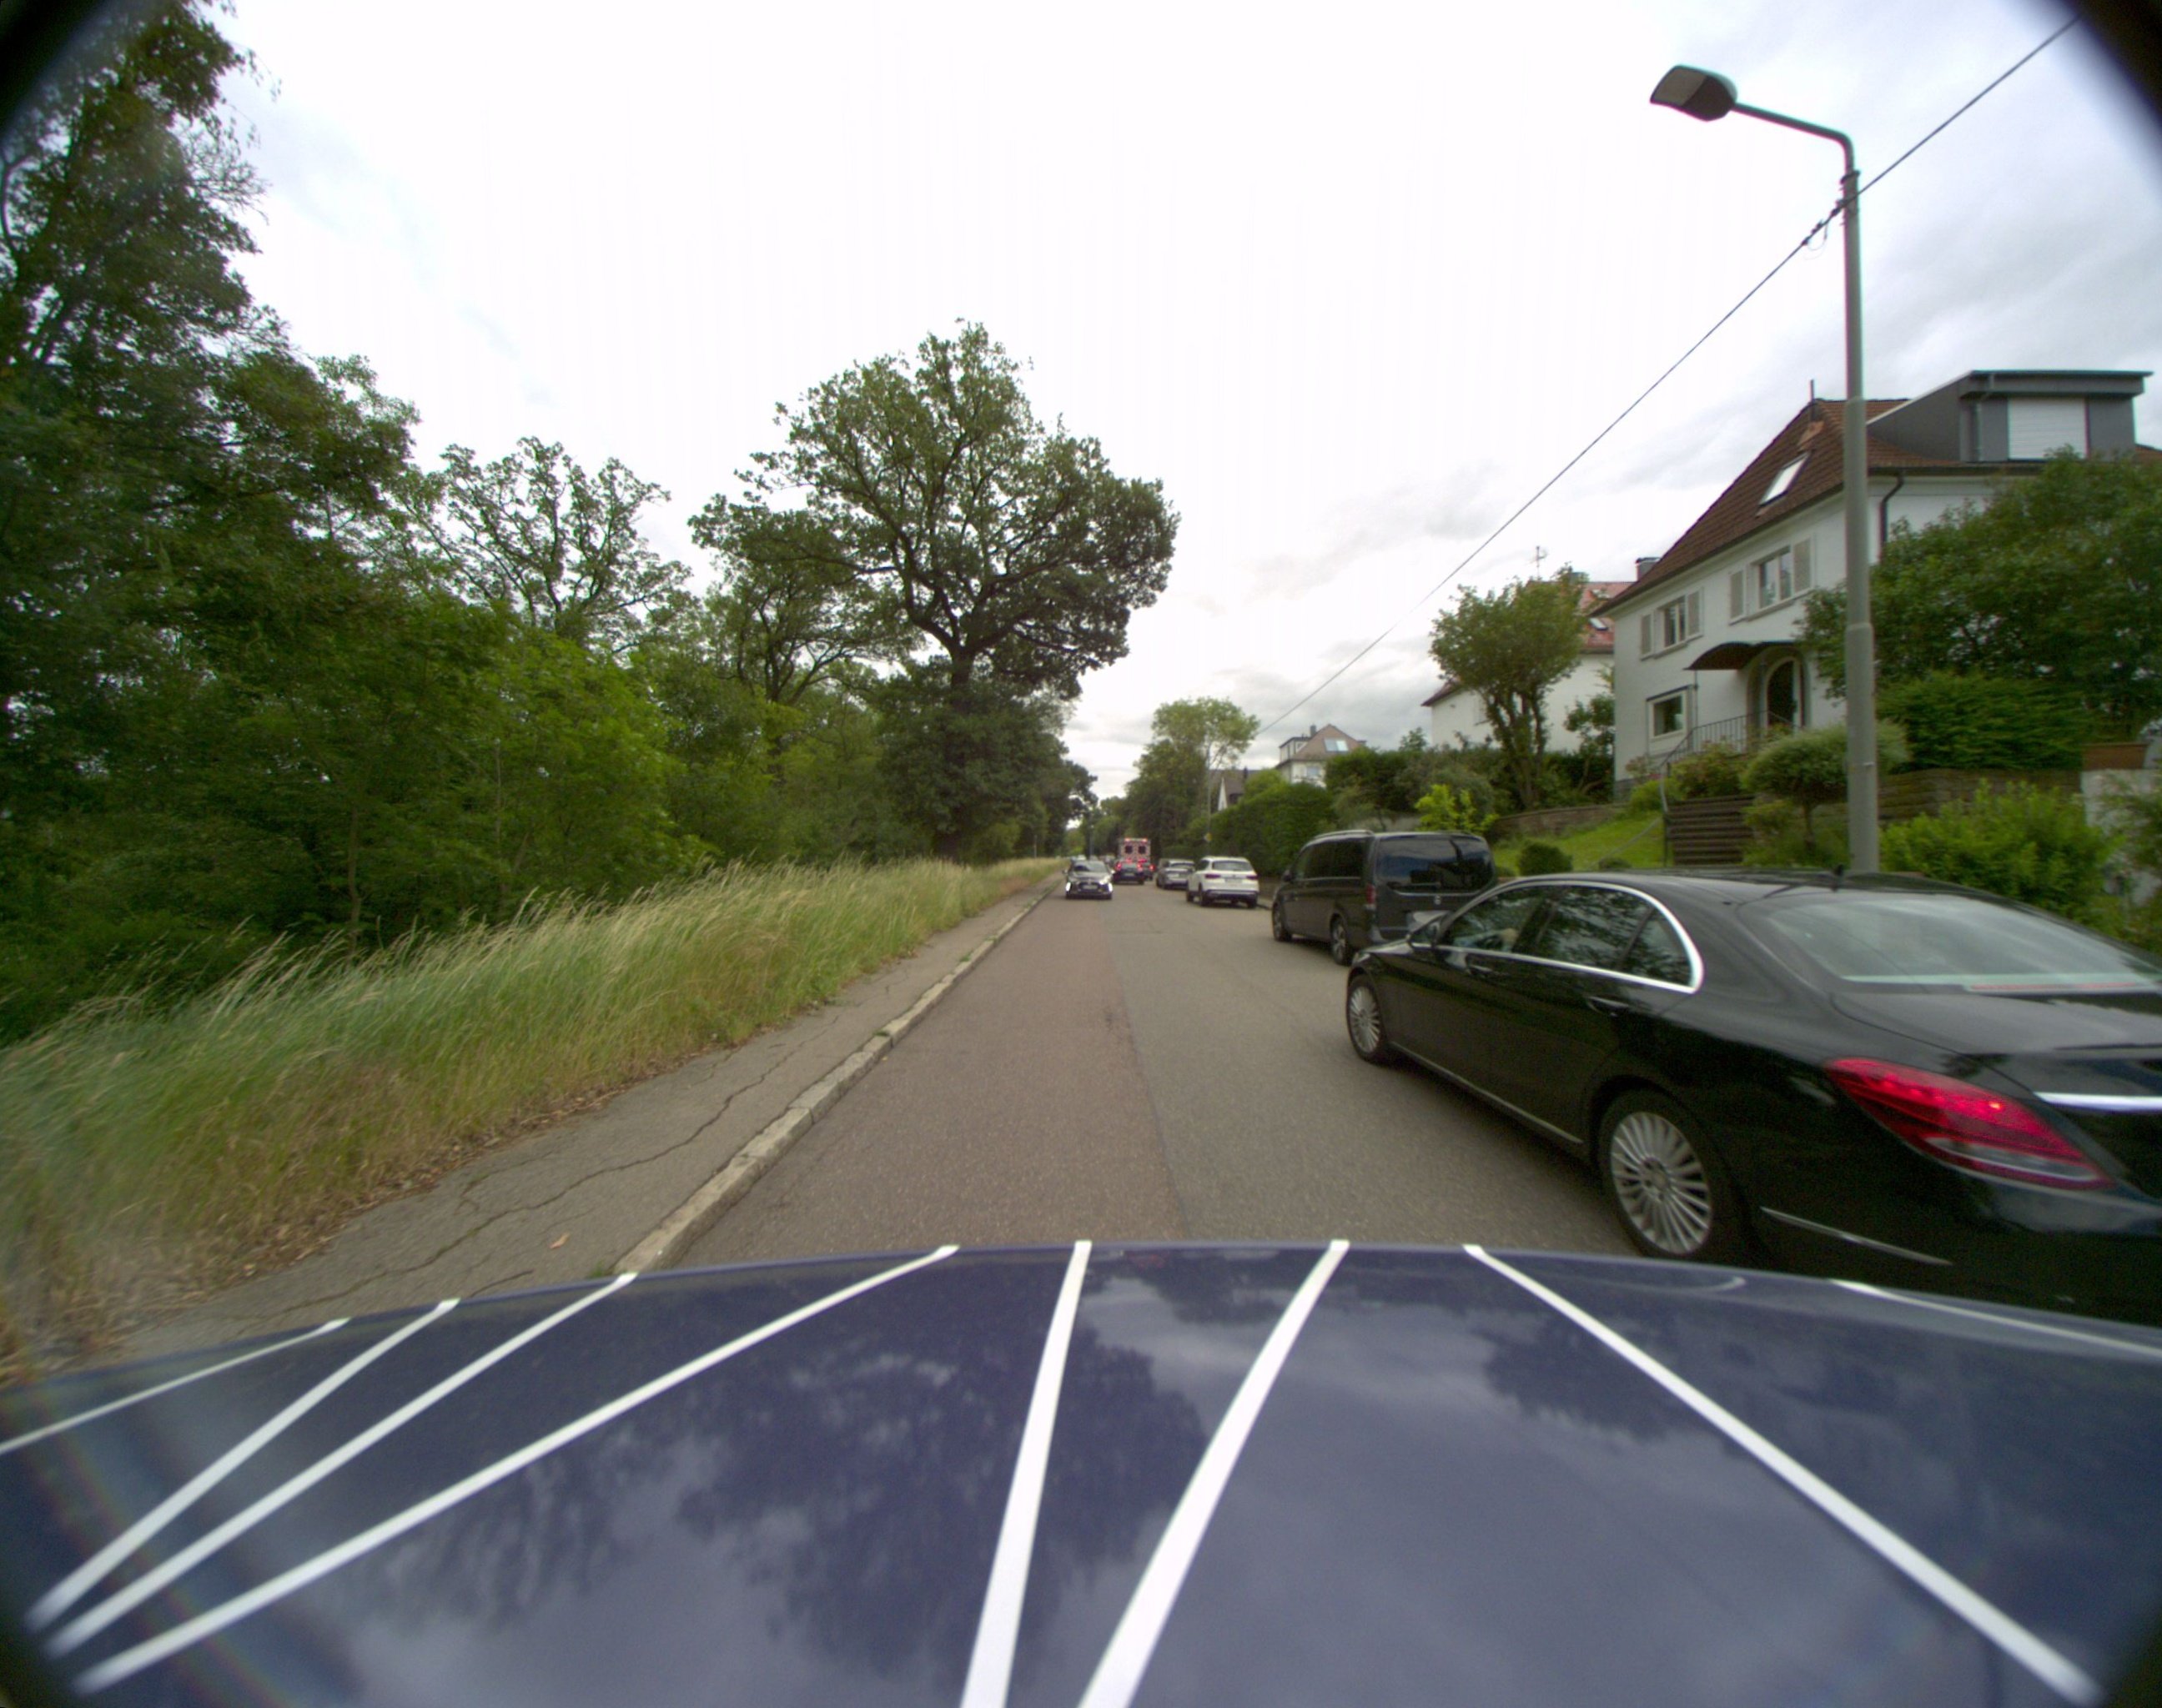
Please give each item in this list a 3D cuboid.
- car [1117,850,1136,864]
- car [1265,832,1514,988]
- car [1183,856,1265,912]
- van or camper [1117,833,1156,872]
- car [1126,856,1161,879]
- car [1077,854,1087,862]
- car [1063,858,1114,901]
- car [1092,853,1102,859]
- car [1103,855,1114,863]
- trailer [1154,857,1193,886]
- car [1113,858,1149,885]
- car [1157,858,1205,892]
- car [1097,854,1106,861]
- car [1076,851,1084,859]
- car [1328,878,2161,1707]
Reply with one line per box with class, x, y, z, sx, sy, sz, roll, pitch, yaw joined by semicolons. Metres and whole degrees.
car;5.515;0.323;92.365;1.921;1.553;4.603;2;0;-2
car;4.465;0.695;12.012;1.868;1.915;5.037;-1;0;0
car;4.656;0.922;25.319;1.843;1.639;4.185;2;0;-1
van or camper;4.231;-0.132;59.583;2.462;2.878;7.167;1;0;0
car;4.172;0.899;51.017;1.768;1.437;4.472;1;0;-3
car;0.205;0.839;158.220;1.999;1.678;4.709;-1;0;-3
car;0.239;0.920;29.093;1.788;1.491;4.014;-1;0;-1
car;3.787;0.473;179.796;1.765;1.441;4.041;-1;0;-6
car;5.070;0.909;139.811;1.788;1.491;4.014;-1;0;-1
trailer;5.211;0.954;43.424;1.768;1.487;4.474;1;0;1
car;2.853;0.957;43.935;1.768;1.437;4.473;1;0;0
car;4.930;1.005;38.051;1.768;1.490;4.473;2;0;0
car;4.255;0.738;158.937;1.741;1.431;3.786;-1;0;-2
car;-0.218;0.236;179.769;1.998;1.678;4.710;-1;0;0
car;2.905;0.910;3.729;1.868;1.406;4.592;-1;0;0
